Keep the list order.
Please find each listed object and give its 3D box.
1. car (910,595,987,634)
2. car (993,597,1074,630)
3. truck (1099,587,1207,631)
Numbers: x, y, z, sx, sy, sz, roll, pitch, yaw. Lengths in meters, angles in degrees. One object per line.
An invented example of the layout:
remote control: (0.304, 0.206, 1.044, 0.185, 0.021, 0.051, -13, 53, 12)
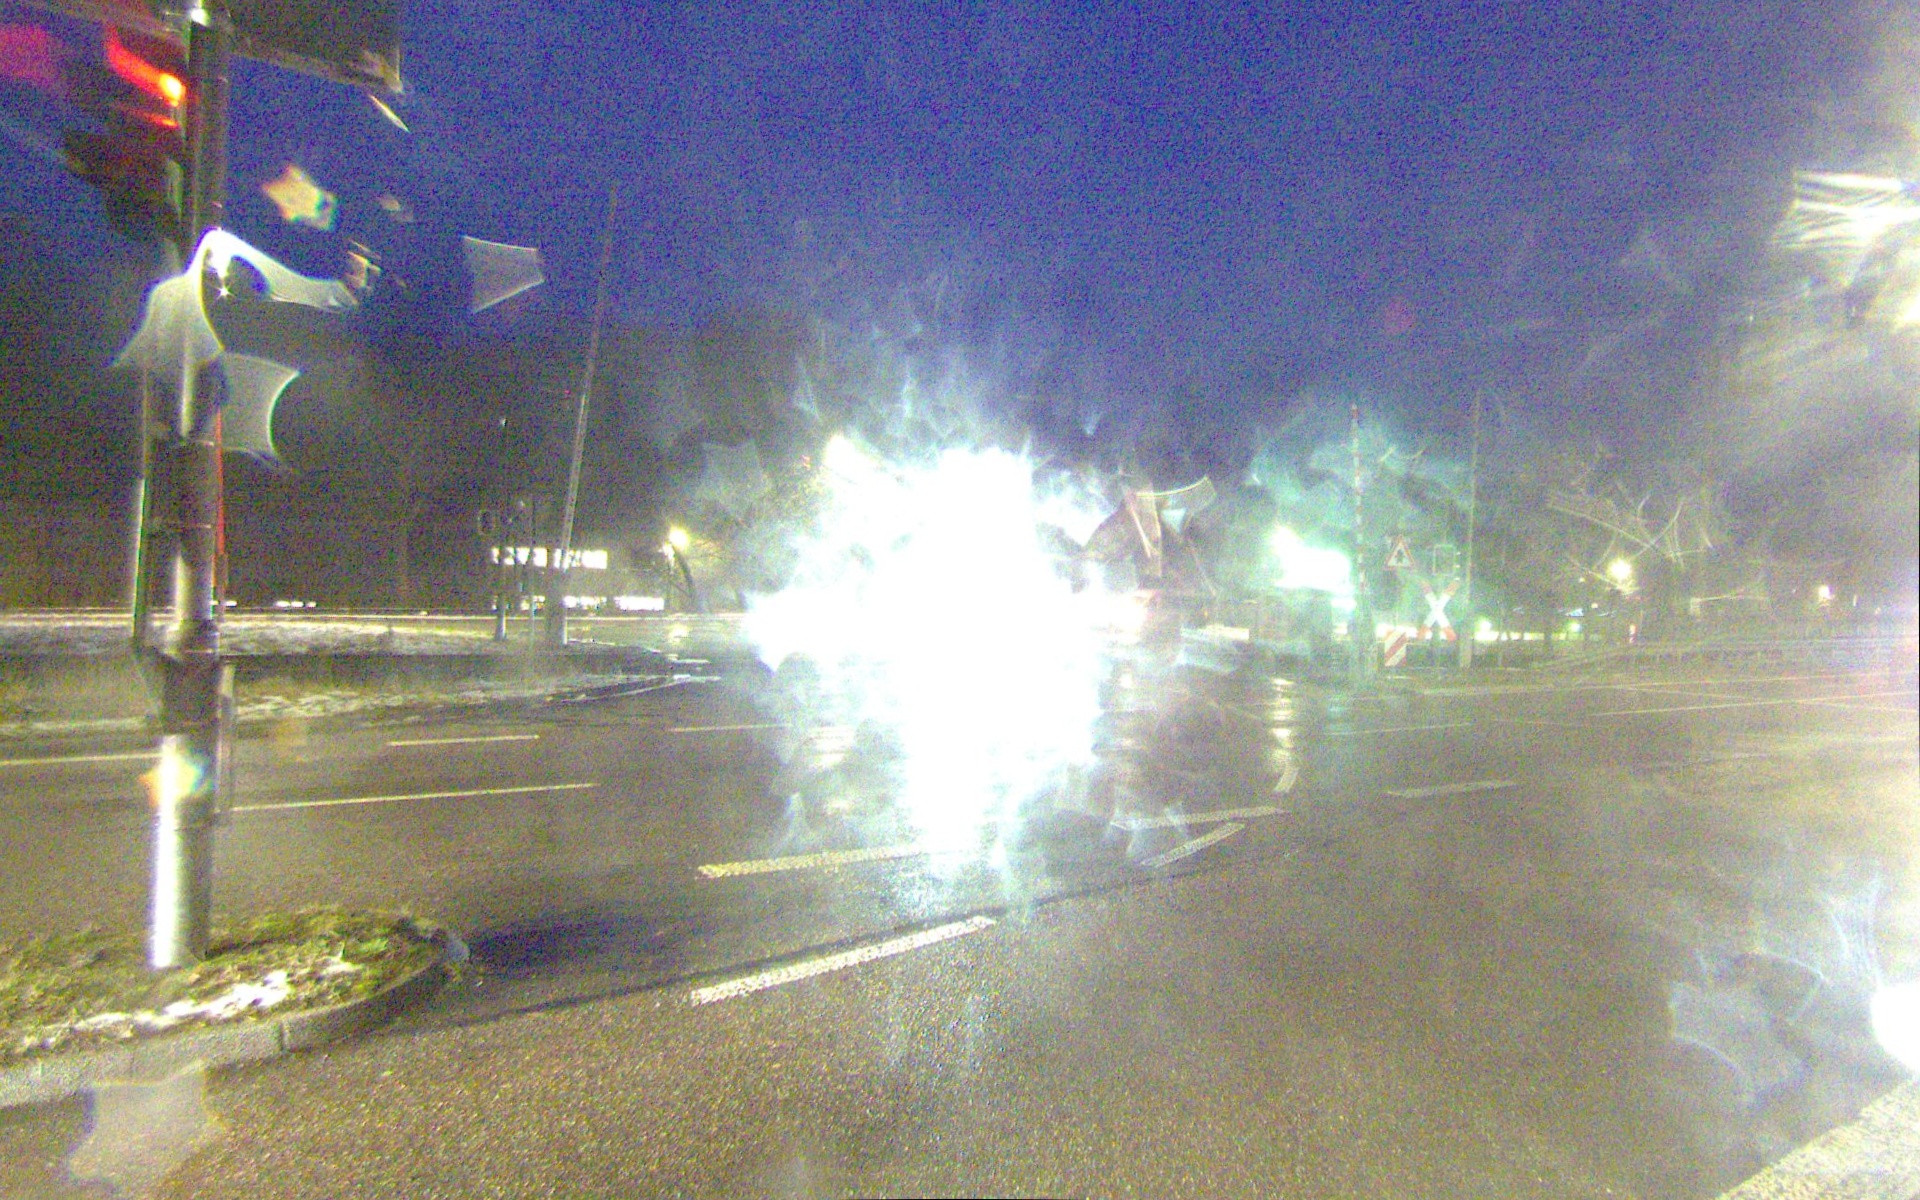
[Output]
car: (-0.456, 0.622, 43.906, 1.695, 1.539, 3.995, 2, 0, 27)
car: (3.724, 0.699, 50.400, 3.968, 1.539, 1.707, 2, 0, -41)
truck: (10.724, 0.504, 55.596, 5.945, 2.302, 1.985, 2, 0, -28)
